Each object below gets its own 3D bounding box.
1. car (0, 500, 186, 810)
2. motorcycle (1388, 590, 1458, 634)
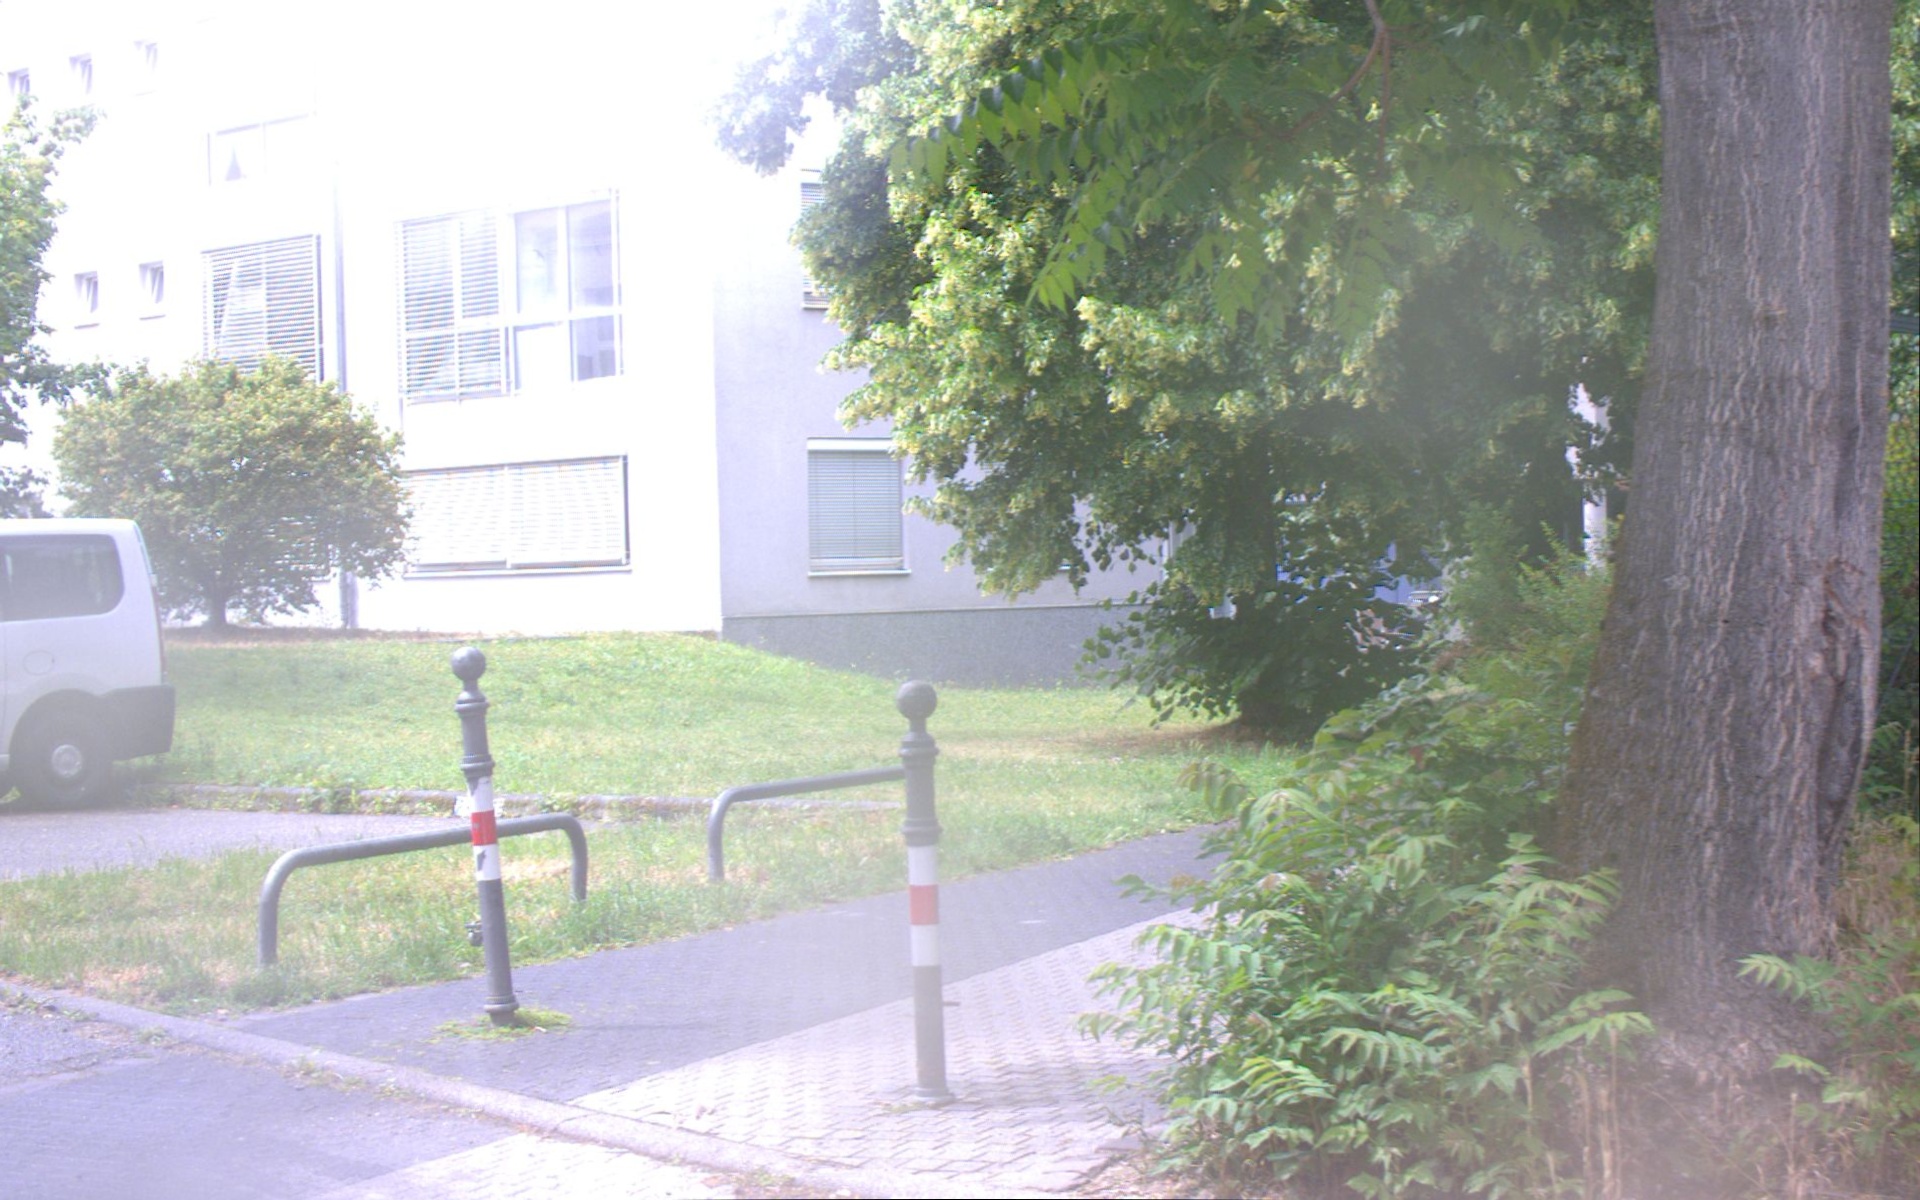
[{"bbox_3d":[-7.788,0.387,22.378,4.937,2.007,2.000,-1,0,-36],"label":"car"},{"bbox_3d":[8.143,0.204,60.431,1.440,0.768,0.330,0,0,-40],"label":"motorcycle"}]
